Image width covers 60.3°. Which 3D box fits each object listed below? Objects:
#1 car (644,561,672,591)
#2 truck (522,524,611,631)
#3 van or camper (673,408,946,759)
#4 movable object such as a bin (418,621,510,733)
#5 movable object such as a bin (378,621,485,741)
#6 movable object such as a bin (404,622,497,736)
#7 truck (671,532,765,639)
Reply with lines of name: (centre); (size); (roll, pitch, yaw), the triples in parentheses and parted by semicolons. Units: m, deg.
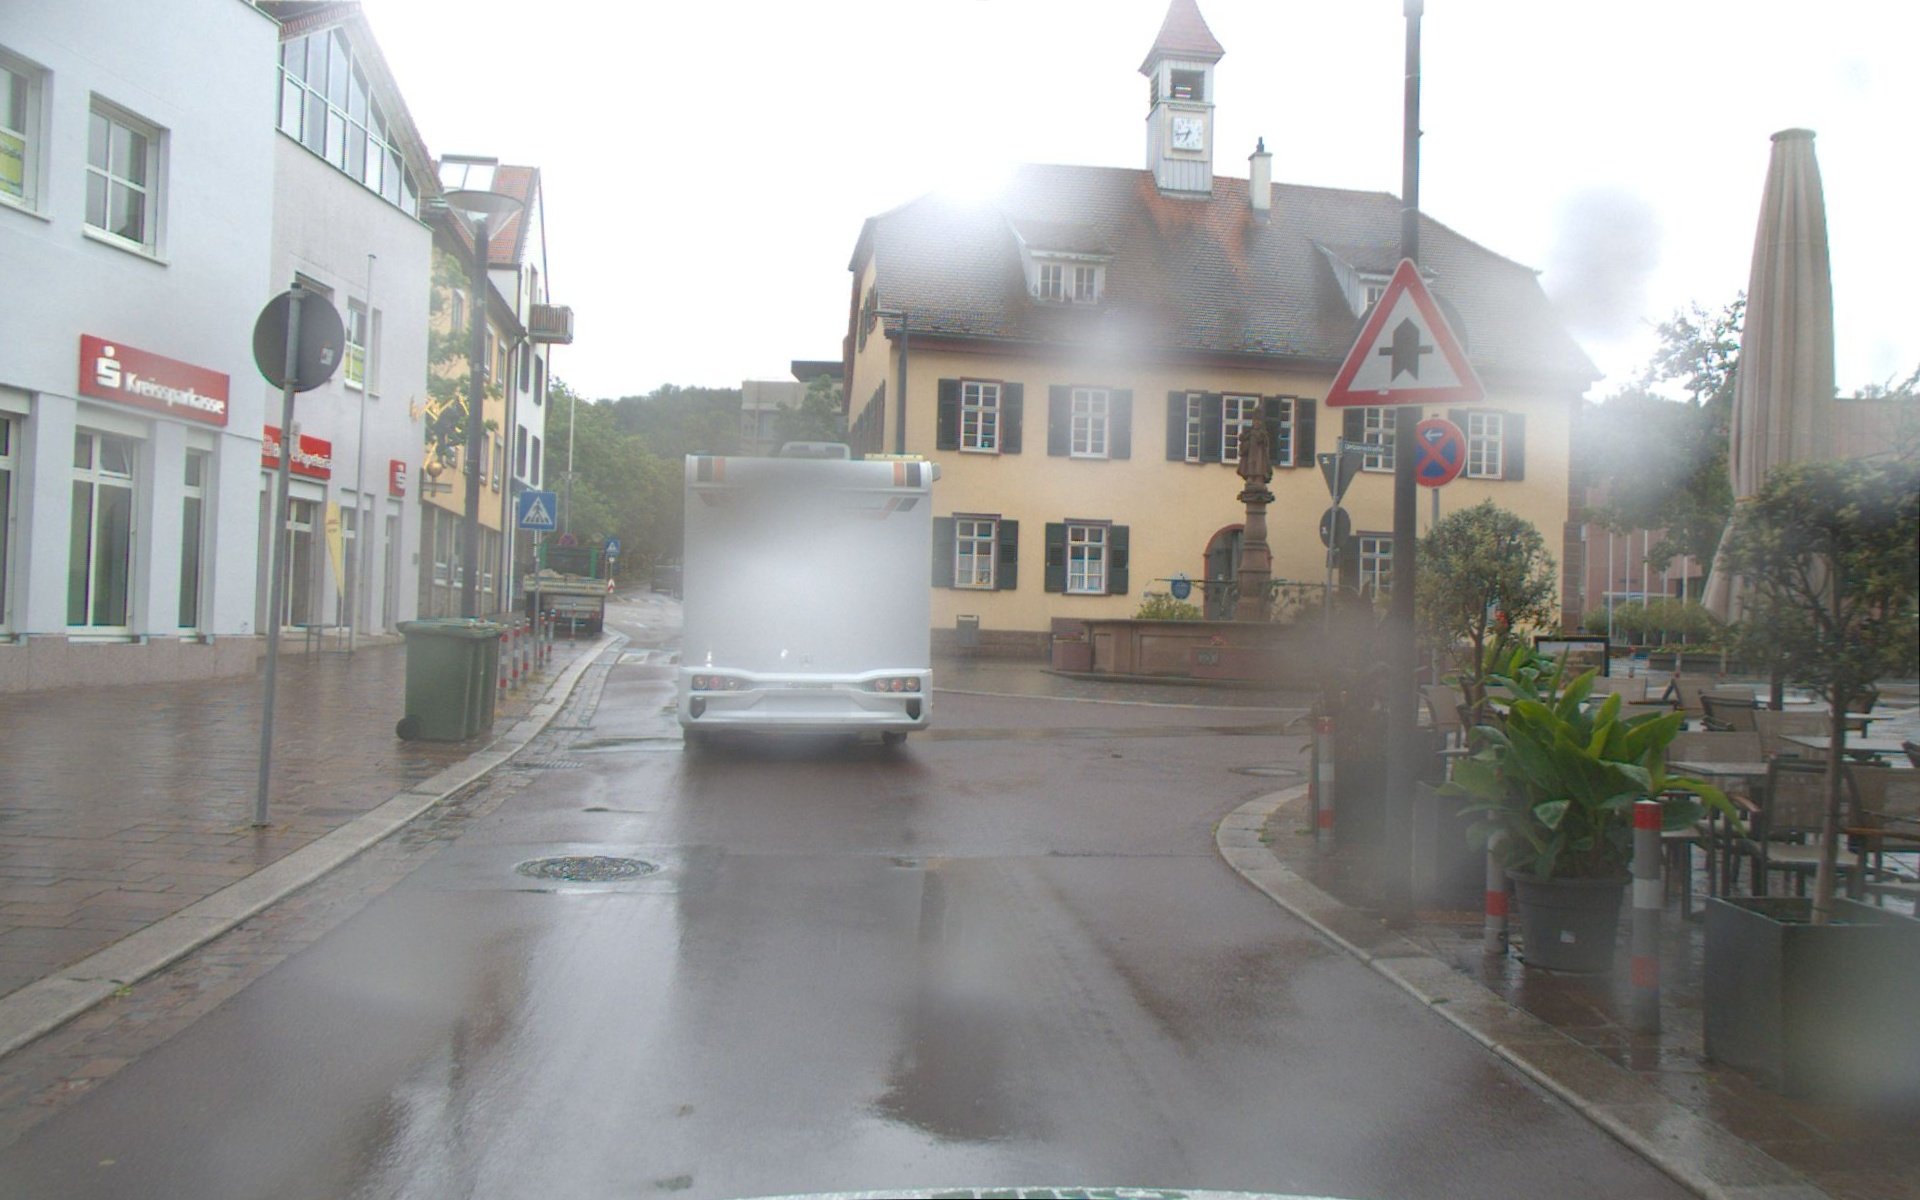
car: (-22.089, -1.730, 120.935); (1.958, 2.049, 3.989); (1, -2, -11)
truck: (-11.196, -0.558, 47.402); (2.240, 2.806, 5.552); (1, -2, -12)
van or camper: (-1.767, -0.052, 17.369); (2.283, 2.970, 6.379); (1, -2, -9)
movable object such as a bin: (-5.002, 0.774, 16.712); (0.751, 1.069, 0.523); (4, -2, -8)
movable object such as a bin: (-4.850, 0.738, 15.232); (0.803, 1.069, 0.698); (1, -2, -8)
movable object such as a bin: (-4.876, 0.754, 15.860); (0.751, 1.069, 0.523); (1, -2, -8)
truck: (-7.404, -0.337, 50.130); (2.418, 2.991, 6.179); (1, -2, -12)
